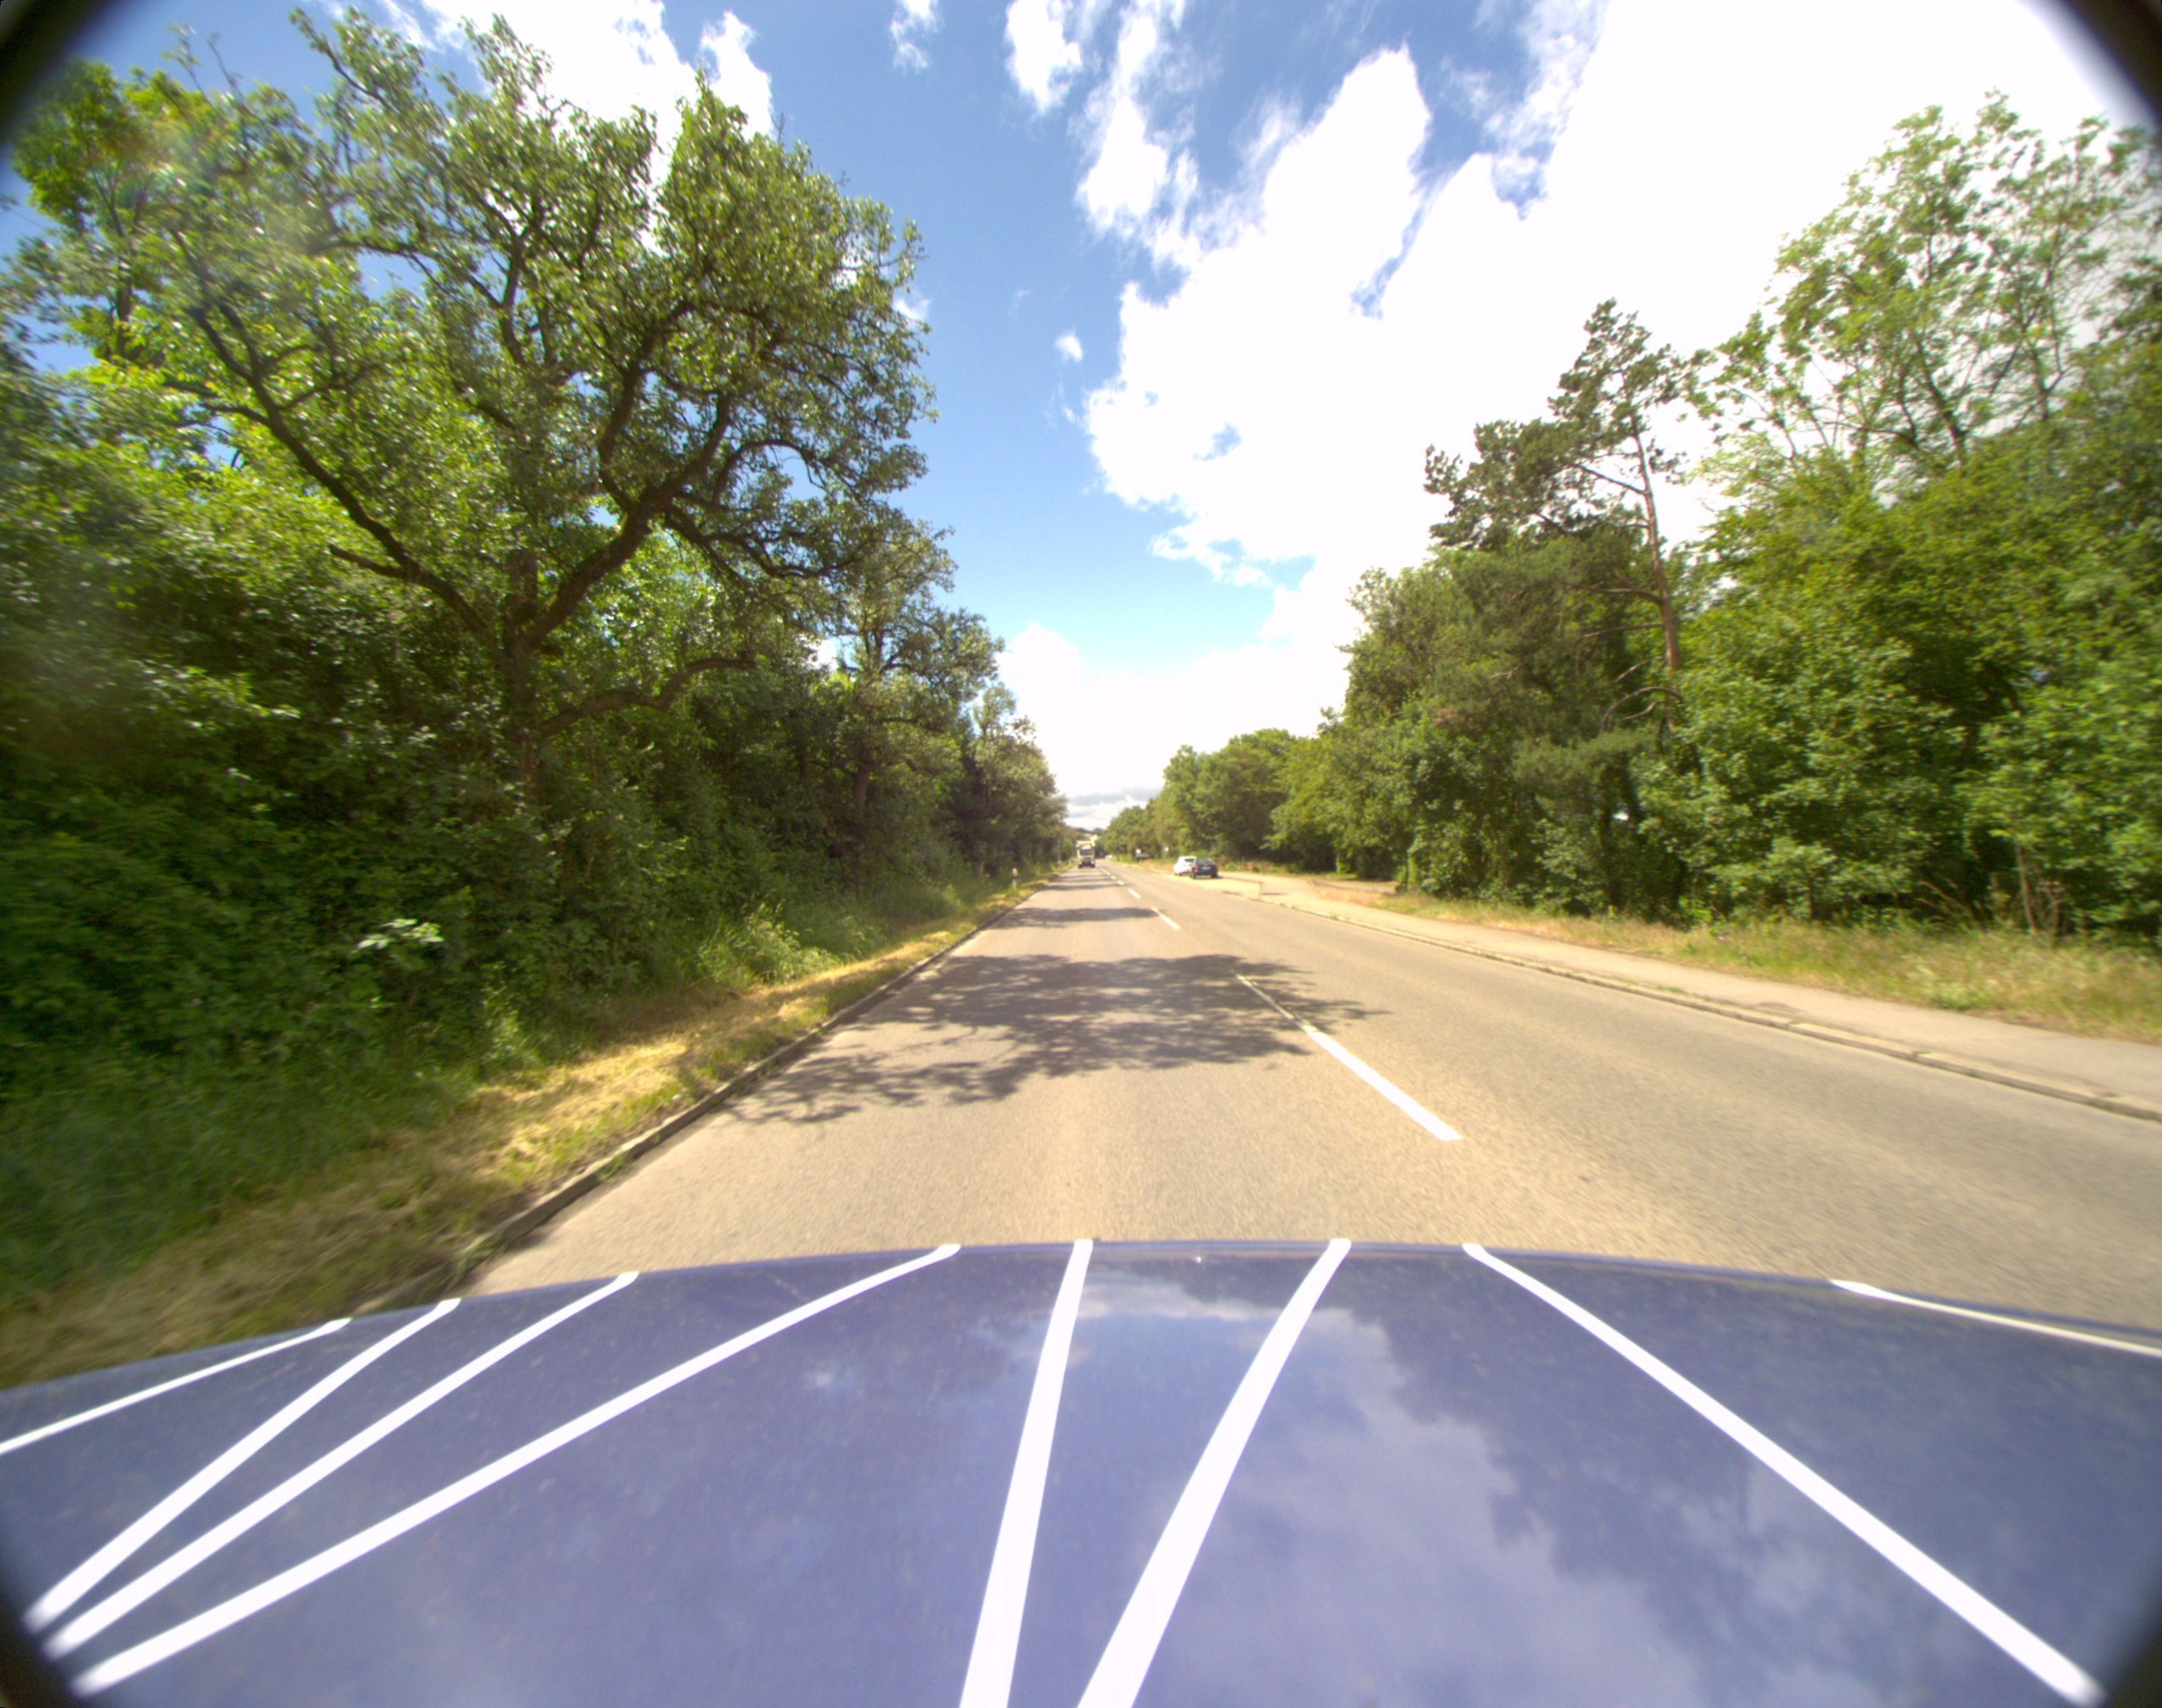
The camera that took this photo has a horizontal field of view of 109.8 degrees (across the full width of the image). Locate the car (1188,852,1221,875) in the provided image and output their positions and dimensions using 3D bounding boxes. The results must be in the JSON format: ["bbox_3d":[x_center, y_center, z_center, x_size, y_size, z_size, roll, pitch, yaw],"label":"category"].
[{"bbox_3d":[8.371,0.615,51.801,1.772,1.400,4.266,-3,0,4],"label":"car"}]

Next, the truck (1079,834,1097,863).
[{"bbox_3d":[0.999,-0.793,109.259,2.306,3.790,8.182,-3,0,0],"label":"truck"}]

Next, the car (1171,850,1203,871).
[{"bbox_3d":[8.252,0.494,59.339,1.772,1.461,4.245,-3,0,-1],"label":"car"}]
